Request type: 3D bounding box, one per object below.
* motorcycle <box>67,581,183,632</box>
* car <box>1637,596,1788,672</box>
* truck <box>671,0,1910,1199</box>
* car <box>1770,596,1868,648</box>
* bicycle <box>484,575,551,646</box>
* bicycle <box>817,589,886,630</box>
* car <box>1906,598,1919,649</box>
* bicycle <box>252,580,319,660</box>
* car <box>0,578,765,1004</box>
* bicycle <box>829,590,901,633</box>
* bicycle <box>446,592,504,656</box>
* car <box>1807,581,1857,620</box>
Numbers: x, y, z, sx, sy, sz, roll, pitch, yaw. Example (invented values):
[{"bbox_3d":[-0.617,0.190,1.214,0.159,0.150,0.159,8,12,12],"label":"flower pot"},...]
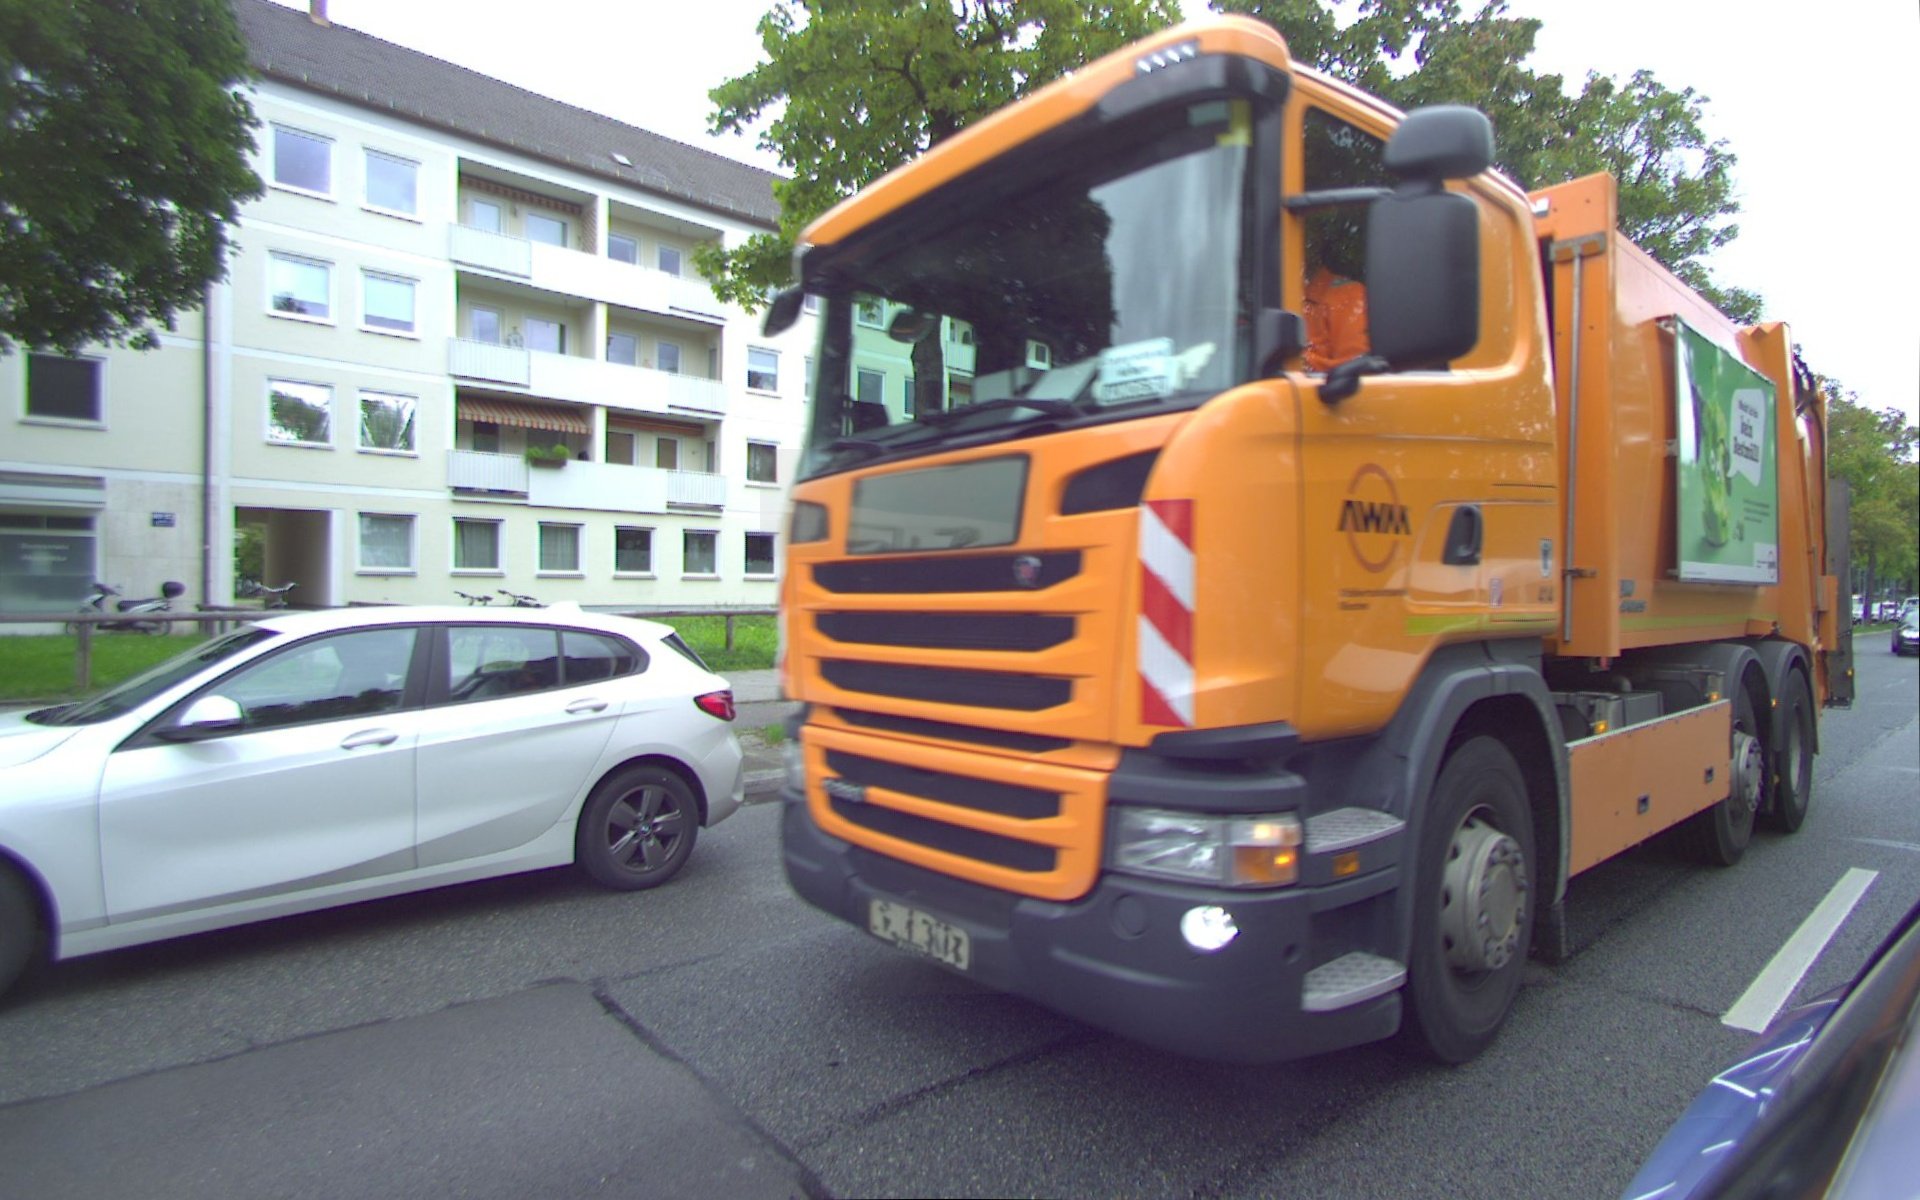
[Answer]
[{"bbox_3d":[-17.638,0.125,21.424,1.873,1.036,0.605,0,0,-41],"label":"motorcycle"},{"bbox_3d":[16.359,0.675,21.929,4.102,1.484,1.754,0,0,-40],"label":"car"},{"bbox_3d":[3.128,-0.208,6.112,8.975,3.229,3.043,0,0,-42],"label":"truck"},{"bbox_3d":[26.478,0.638,31.148,4.042,1.484,1.685,0,0,-40],"label":"car"},{"bbox_3d":[-6.516,0.142,14.864,0.425,0.986,1.881,0,0,-39],"label":"bicycle"},{"bbox_3d":[-2.821,0.247,26.480,1.850,1.041,0.432,0,2,-41],"label":"bicycle"},{"bbox_3d":[29.403,0.670,29.782,4.586,1.461,1.798,0,-1,-41],"label":"car"},{"bbox_3d":[-8.686,0.232,13.005,0.548,0.951,1.881,0,0,-39],"label":"bicycle"},{"bbox_3d":[-3.143,0.681,4.867,4.066,1.484,1.684,0,-1,-42],"label":"car"},{"bbox_3d":[-2.361,0.280,25.349,1.850,1.041,0.432,0,2,-41],"label":"bicycle"},{"bbox_3d":[-7.854,0.358,16.365,0.425,0.986,1.881,0,0,-39],"label":"bicycle"},{"bbox_3d":[63.276,0.056,73.376,5.902,2.691,1.976,0,-1,-42],"label":"car"}]
